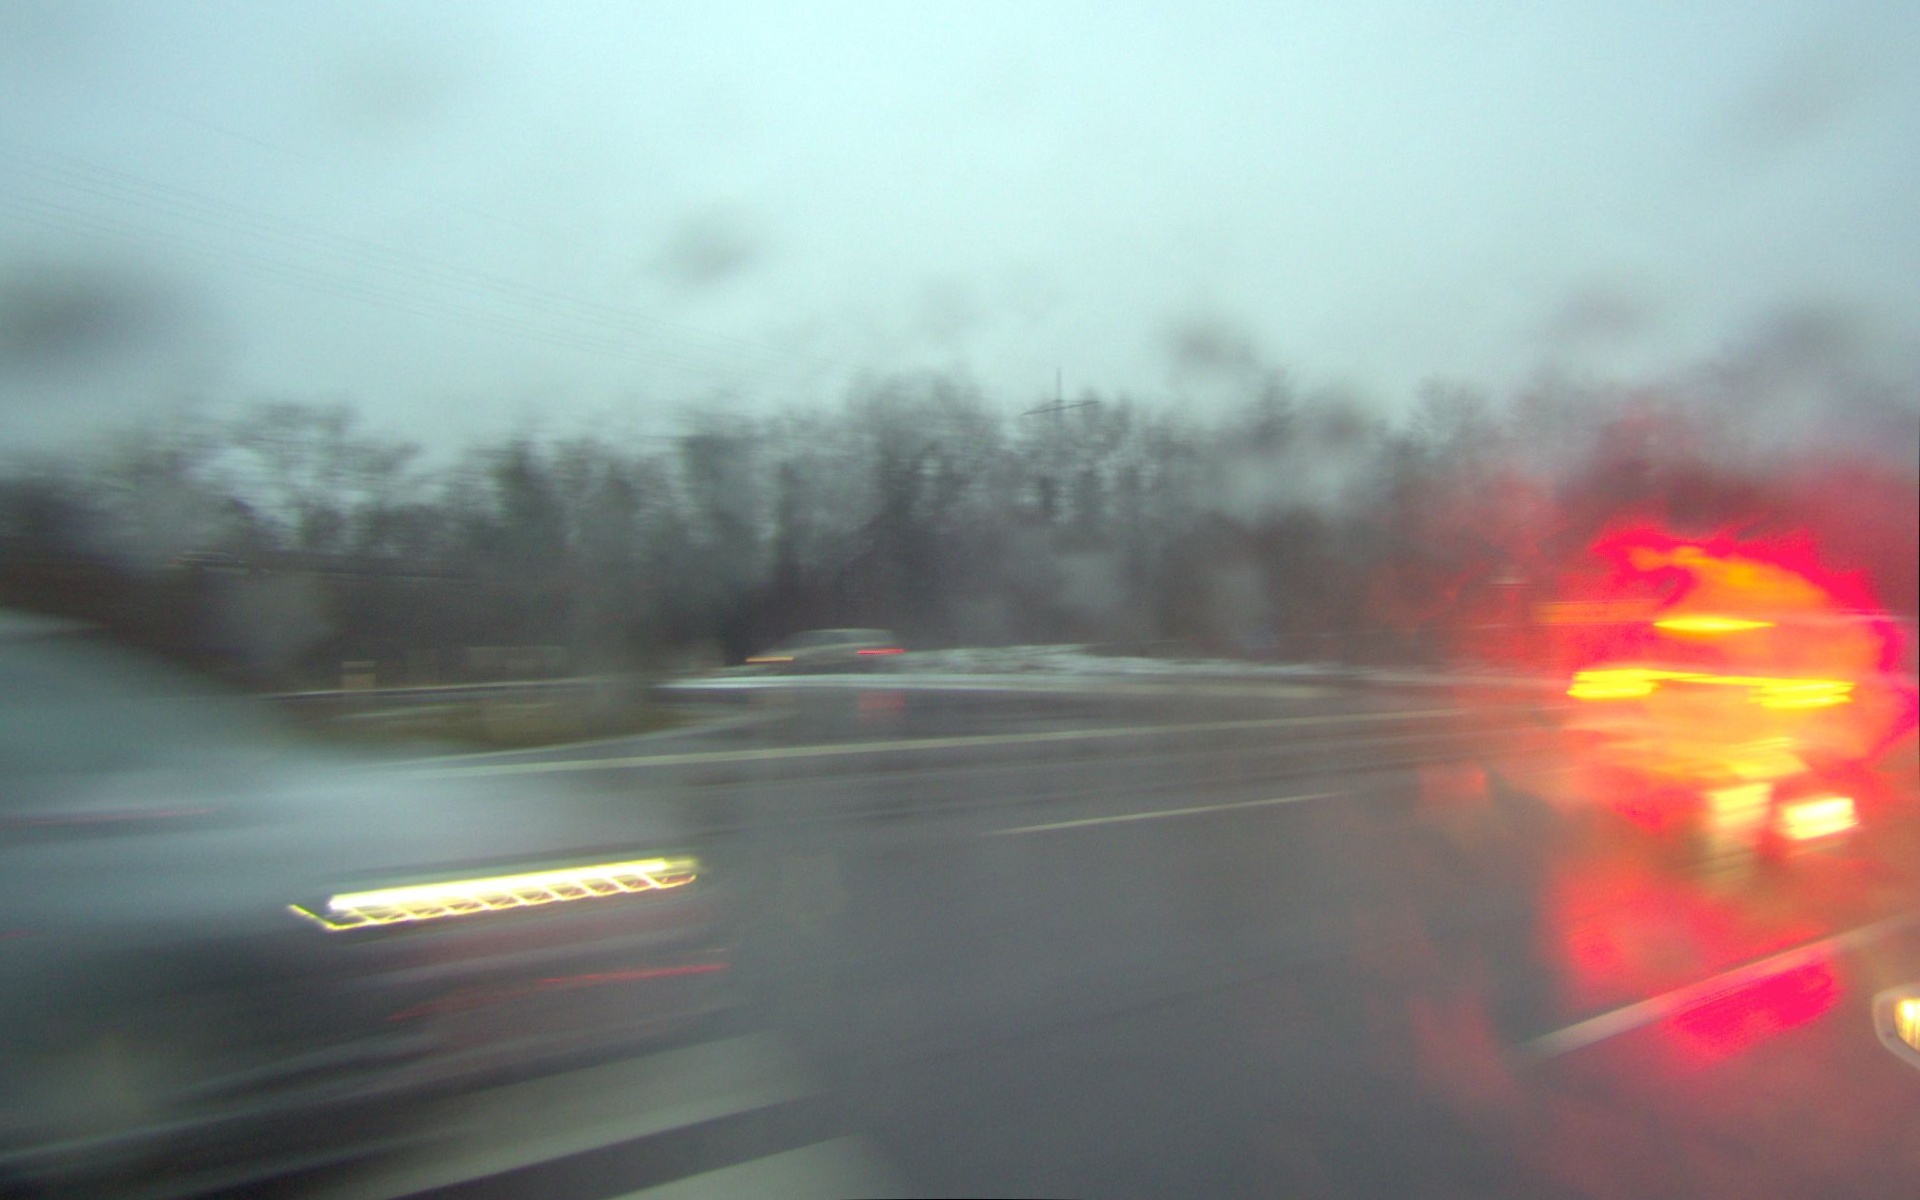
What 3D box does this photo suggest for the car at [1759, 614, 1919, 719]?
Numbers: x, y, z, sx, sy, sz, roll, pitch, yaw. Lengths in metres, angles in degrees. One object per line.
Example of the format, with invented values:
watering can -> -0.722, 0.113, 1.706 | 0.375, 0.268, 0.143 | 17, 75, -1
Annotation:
car -> 16.254, 1.092, 17.753 | 4.519, 1.638, 1.815 | 1, -1, -30

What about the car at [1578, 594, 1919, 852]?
car -> 7.078, 0.826, 8.240 | 4.169, 1.648, 1.704 | 1, -1, -31

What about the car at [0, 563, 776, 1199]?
car -> -2.967, 0.698, 2.679 | 4.464, 1.576, 1.995 | 2, -1, -30

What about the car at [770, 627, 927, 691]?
car -> -3.590, 1.885, 32.741 | 4.713, 1.779, 1.958 | 2, 1, 7
